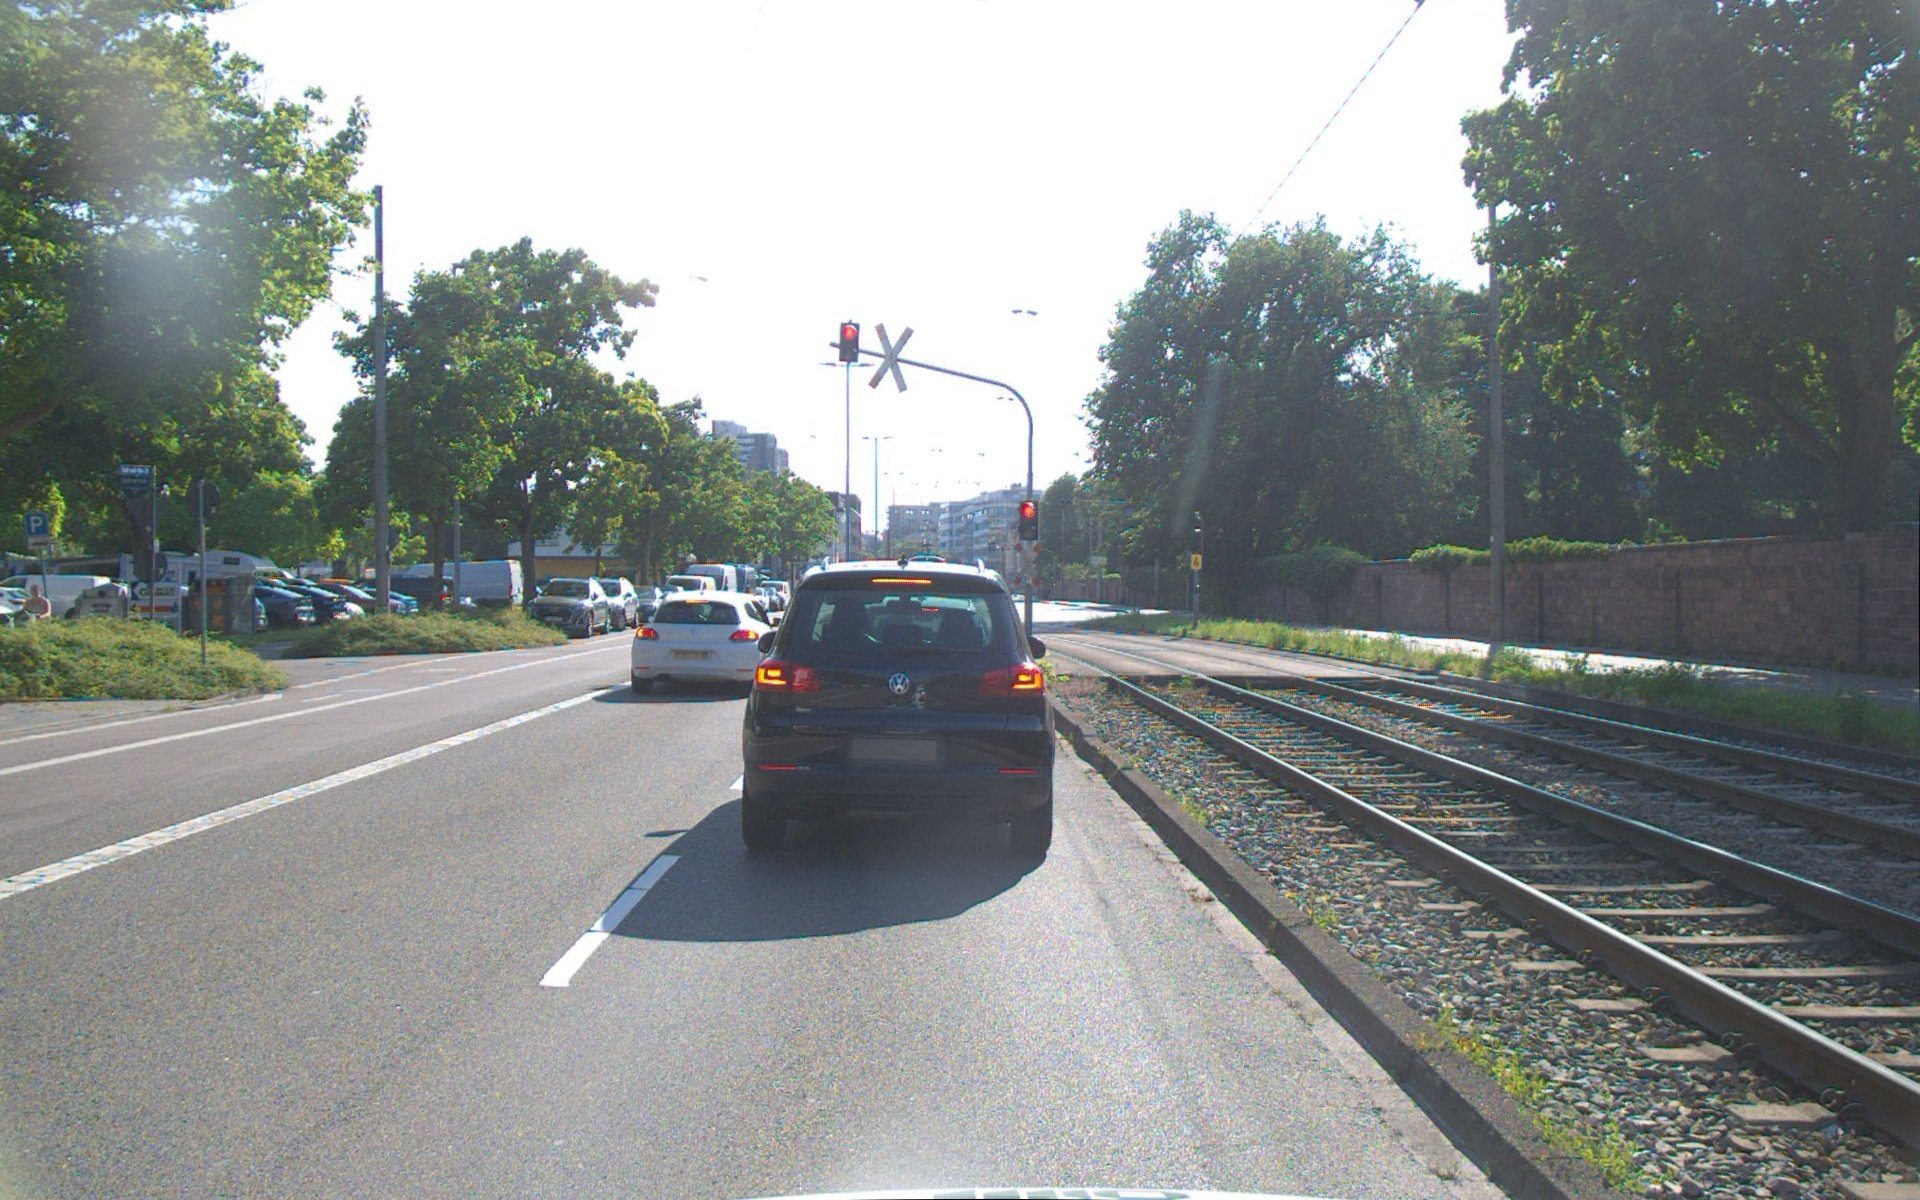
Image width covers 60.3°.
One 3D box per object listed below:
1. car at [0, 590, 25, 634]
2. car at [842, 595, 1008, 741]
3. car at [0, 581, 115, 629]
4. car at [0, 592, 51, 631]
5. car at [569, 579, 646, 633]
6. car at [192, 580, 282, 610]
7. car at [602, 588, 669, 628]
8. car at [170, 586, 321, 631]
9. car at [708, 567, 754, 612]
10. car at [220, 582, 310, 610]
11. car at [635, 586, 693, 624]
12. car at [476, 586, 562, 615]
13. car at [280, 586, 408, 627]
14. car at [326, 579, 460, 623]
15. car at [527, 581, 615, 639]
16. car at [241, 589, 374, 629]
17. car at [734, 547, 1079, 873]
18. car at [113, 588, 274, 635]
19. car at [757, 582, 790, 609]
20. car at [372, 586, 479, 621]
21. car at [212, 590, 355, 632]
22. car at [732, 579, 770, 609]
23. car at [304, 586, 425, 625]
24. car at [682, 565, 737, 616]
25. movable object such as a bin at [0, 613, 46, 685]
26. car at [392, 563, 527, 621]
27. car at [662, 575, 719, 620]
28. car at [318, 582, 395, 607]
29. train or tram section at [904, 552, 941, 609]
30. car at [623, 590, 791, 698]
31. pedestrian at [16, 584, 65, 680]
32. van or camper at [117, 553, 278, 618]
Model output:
[{"bbox_3d":[-34.539,0.397,56.740,3.908,1.483,1.736,0,0,-4],"label":"car"},{"bbox_3d":[-0.376,0.668,18.401,1.635,1.411,3.999,0,1,-1],"label":"car"},{"bbox_3d":[-33.984,0.178,61.845,3.912,1.758,1.624,0,0,-8],"label":"car"},{"bbox_3d":[-35.125,0.419,59.565,3.903,1.384,1.628,0,0,4],"label":"car"},{"bbox_3d":[-11.766,0.172,55.497,1.696,1.724,4.000,0,1,0],"label":"car"},{"bbox_3d":[-34.948,-0.230,79.999,3.591,1.422,1.736,0,0,-4],"label":"car"},{"bbox_3d":[-12.047,0.264,61.589,1.696,1.413,3.735,0,1,0],"label":"car"},{"bbox_3d":[-21.968,0.244,50.946,3.908,1.330,1.736,0,0,-4],"label":"car"},{"bbox_3d":[-11.922,-0.561,86.295,1.696,2.308,4.645,0,1,0],"label":"car"},{"bbox_3d":[-35.761,-0.231,85.155,3.908,1.422,1.736,0,0,-4],"label":"car"},{"bbox_3d":[-12.044,0.192,67.472,1.696,1.475,3.735,0,1,0],"label":"car"},{"bbox_3d":[-22.196,-0.004,83.314,3.908,1.422,1.736,0,0,-4],"label":"car"},{"bbox_3d":[-21.955,0.206,59.039,3.908,1.422,1.736,0,0,-4],"label":"car"},{"bbox_3d":[-22.038,0.033,64.393,4.526,1.680,2.048,0,0,-3],"label":"car"},{"bbox_3d":[-11.671,0.273,49.859,1.696,1.686,4.000,0,1,0],"label":"car"},{"bbox_3d":[-22.373,0.314,56.816,3.908,1.330,1.736,0,0,-4],"label":"car"},{"bbox_3d":[-0.307,0.571,10.654,1.774,1.673,3.999,1,0,-1],"label":"car"},{"bbox_3d":[-22.447,0.332,48.525,3.908,1.330,1.736,0,0,-4],"label":"car"},{"bbox_3d":[-12.314,-0.300,109.321,1.696,1.724,4.000,0,1,0],"label":"car"},{"bbox_3d":[-22.244,0.120,68.920,3.908,1.422,1.736,0,0,-4],"label":"car"},{"bbox_3d":[-21.867,0.344,53.546,3.908,1.330,1.736,0,0,-4],"label":"car"},{"bbox_3d":[-12.343,-0.376,97.935,1.696,1.724,4.000,0,1,0],"label":"car"},{"bbox_3d":[-22.277,0.178,62.000,3.908,1.422,1.736,0,0,-4],"label":"car"},{"bbox_3d":[-12.007,-0.462,79.465,1.825,2.388,4.985,0,1,0],"label":"car"},{"bbox_3d":[-16.027,0.811,27.906,0.531,1.166,1.261,0,0,-1],"label":"movable object such as a bin"},{"bbox_3d":[-21.895,-0.356,72.440,5.266,2.466,2.087,0,0,-1],"label":"car"},{"bbox_3d":[-11.826,-0.130,72.794,1.696,1.892,4.489,0,1,0],"label":"car"},{"bbox_3d":[-35.383,-0.313,97.079,3.908,1.422,1.736,0,0,-4],"label":"car"},{"bbox_3d":[-2.426,-1.278,108.755,2.279,3.632,8.898,0,1,-1],"label":"train or tram section"},{"bbox_3d":[-3.513,0.563,23.655,1.827,1.371,3.999,1,1,-1],"label":"car"},{"bbox_3d":[-16.033,0.553,28.844,0.514,1.656,0.610,0,0,-1],"label":"pedestrian"},{"bbox_3d":[-35.360,-0.681,76.821,6.332,2.918,2.307,0,0,-1],"label":"van or camper"}]
